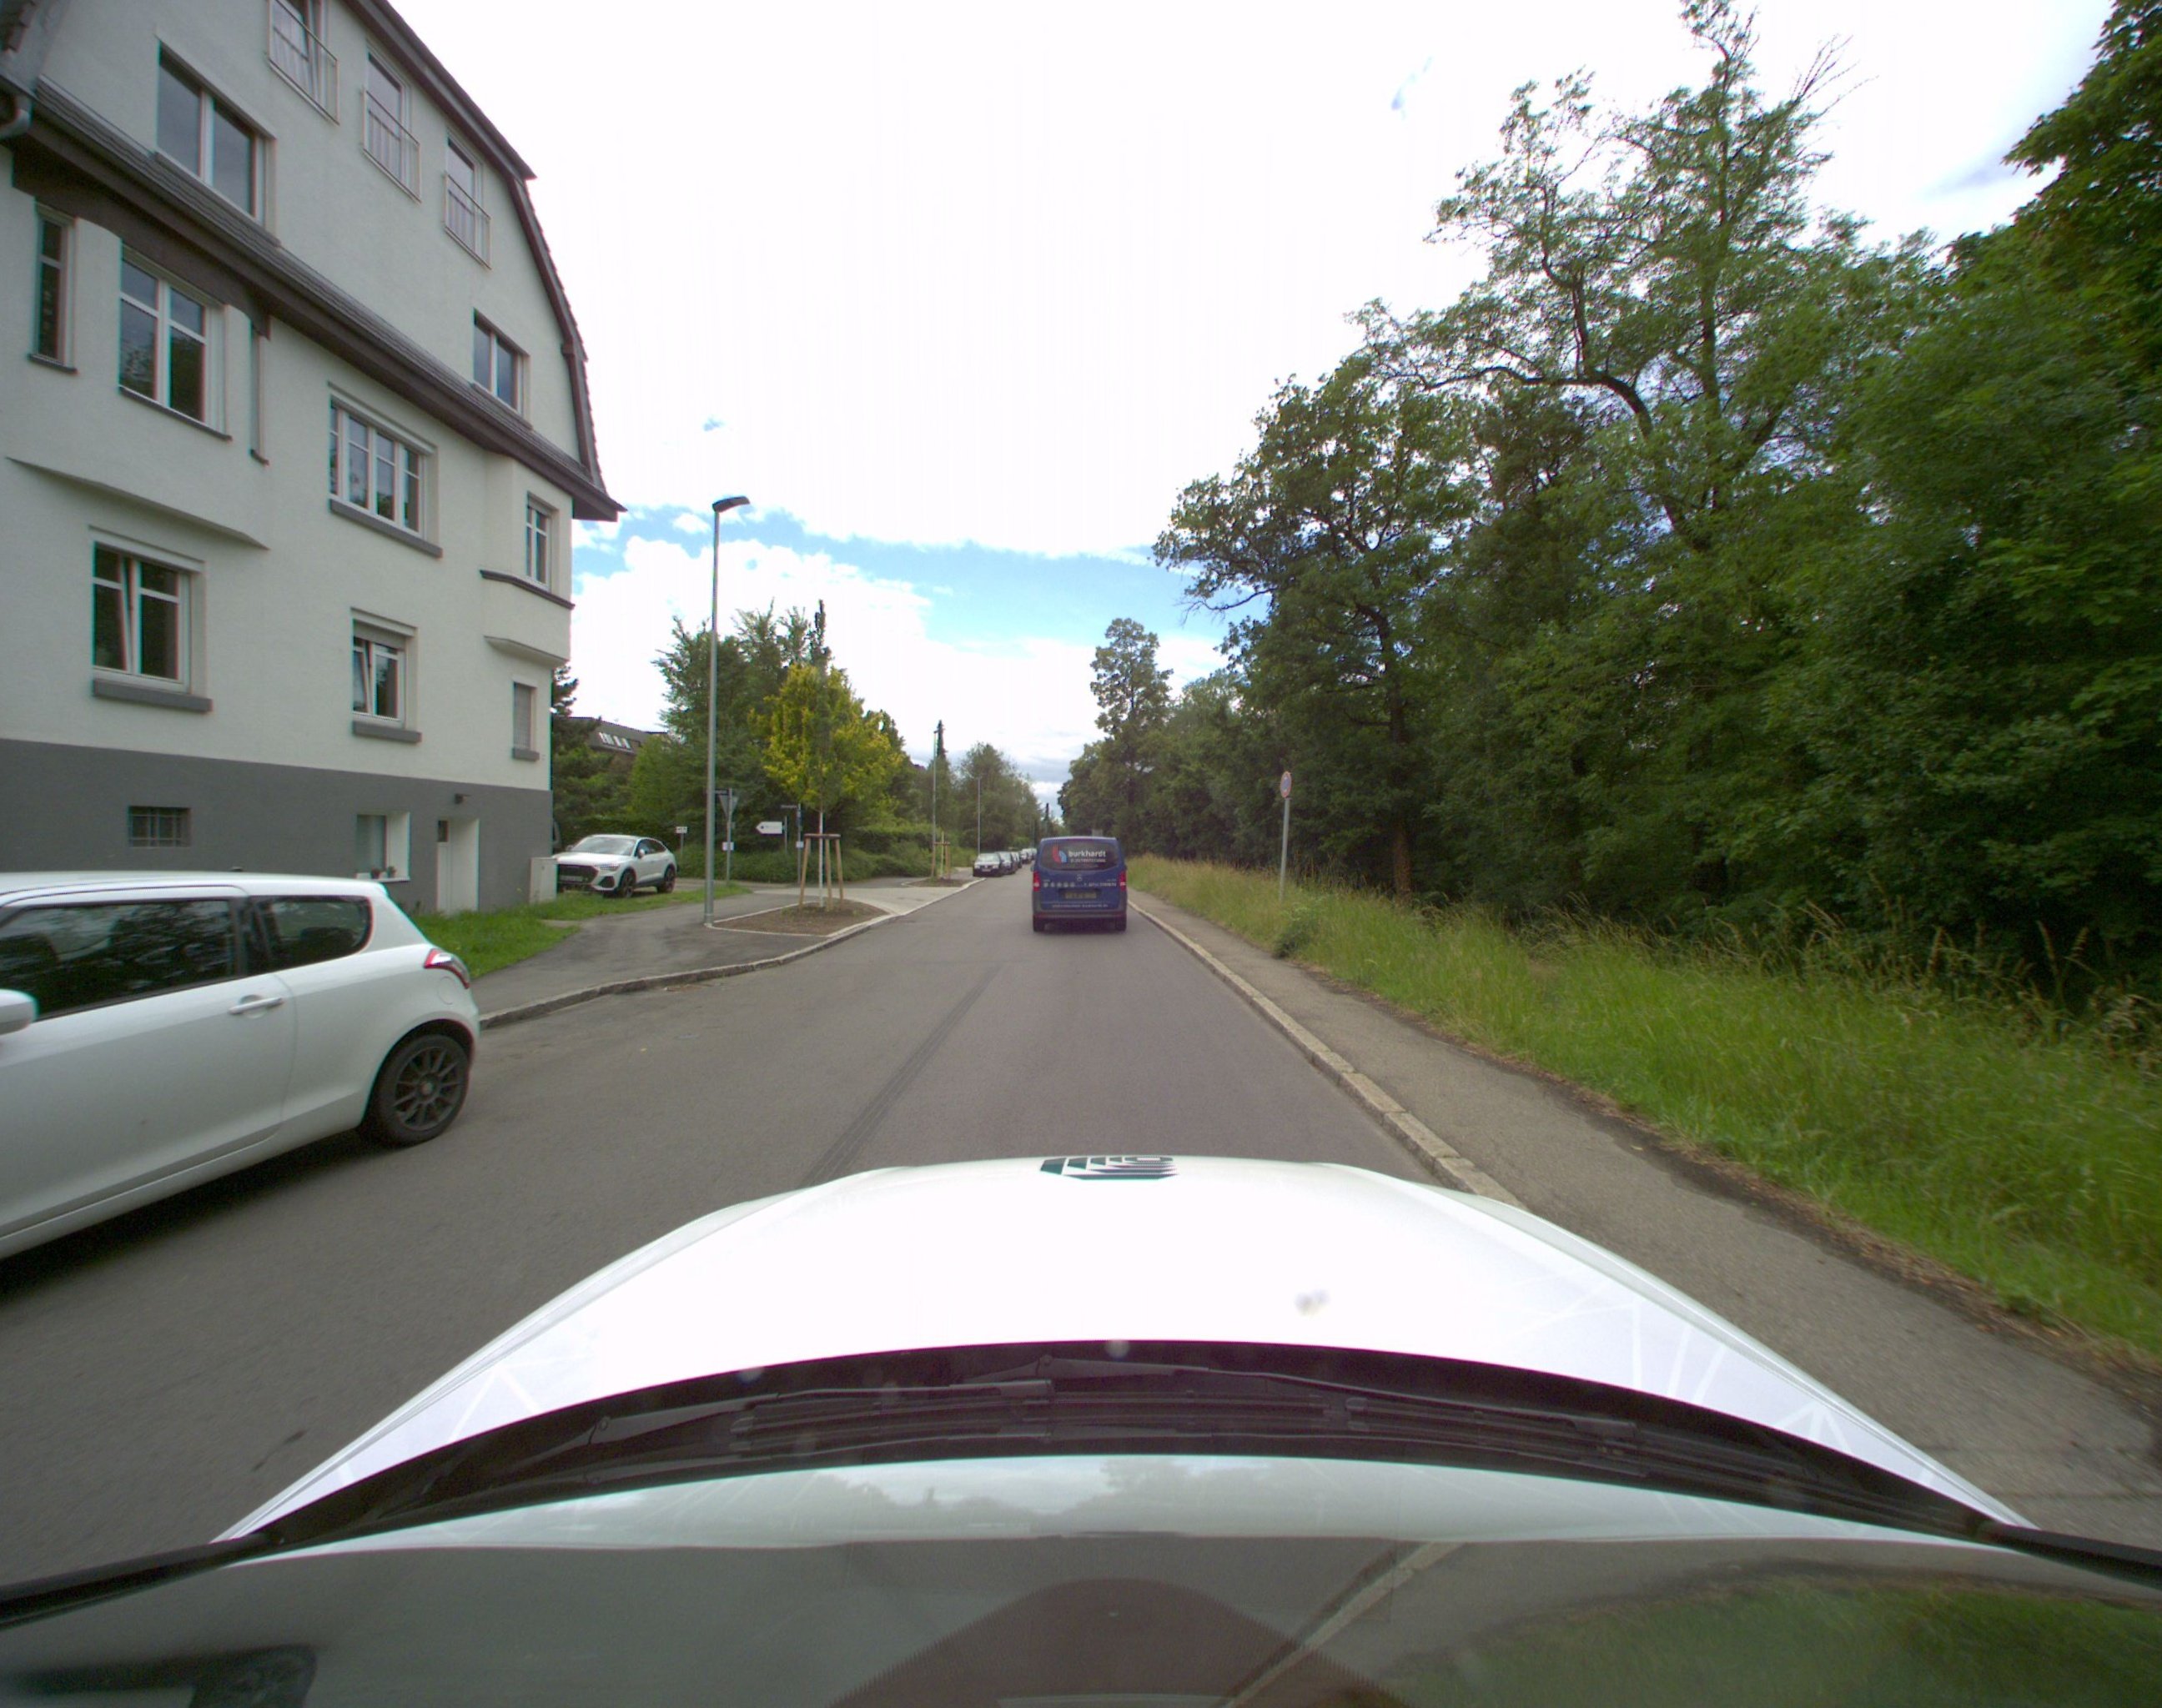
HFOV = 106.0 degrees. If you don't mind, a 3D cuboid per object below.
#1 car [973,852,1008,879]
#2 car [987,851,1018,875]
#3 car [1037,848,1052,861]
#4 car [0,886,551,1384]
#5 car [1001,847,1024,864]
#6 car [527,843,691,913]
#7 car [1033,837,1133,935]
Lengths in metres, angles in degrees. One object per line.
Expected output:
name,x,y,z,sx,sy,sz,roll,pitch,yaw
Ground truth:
car,-5.514,0.663,50.079,1.678,1.482,4.690,-1,1,-2
car,-5.244,0.562,55.061,1.701,1.482,4.494,-1,1,-1
car,-4.457,0.048,99.892,1.776,1.426,4.485,0,1,-3
car,-4.287,0.983,3.196,1.637,1.469,4.072,-2,0,1
car,-6.002,0.096,71.634,1.774,1.431,5.100,0,1,-3
car,-11.985,0.532,21.095,1.903,1.532,4.588,3,1,-6
car,-0.038,0.566,17.337,1.884,1.844,3.997,1,1,-2
